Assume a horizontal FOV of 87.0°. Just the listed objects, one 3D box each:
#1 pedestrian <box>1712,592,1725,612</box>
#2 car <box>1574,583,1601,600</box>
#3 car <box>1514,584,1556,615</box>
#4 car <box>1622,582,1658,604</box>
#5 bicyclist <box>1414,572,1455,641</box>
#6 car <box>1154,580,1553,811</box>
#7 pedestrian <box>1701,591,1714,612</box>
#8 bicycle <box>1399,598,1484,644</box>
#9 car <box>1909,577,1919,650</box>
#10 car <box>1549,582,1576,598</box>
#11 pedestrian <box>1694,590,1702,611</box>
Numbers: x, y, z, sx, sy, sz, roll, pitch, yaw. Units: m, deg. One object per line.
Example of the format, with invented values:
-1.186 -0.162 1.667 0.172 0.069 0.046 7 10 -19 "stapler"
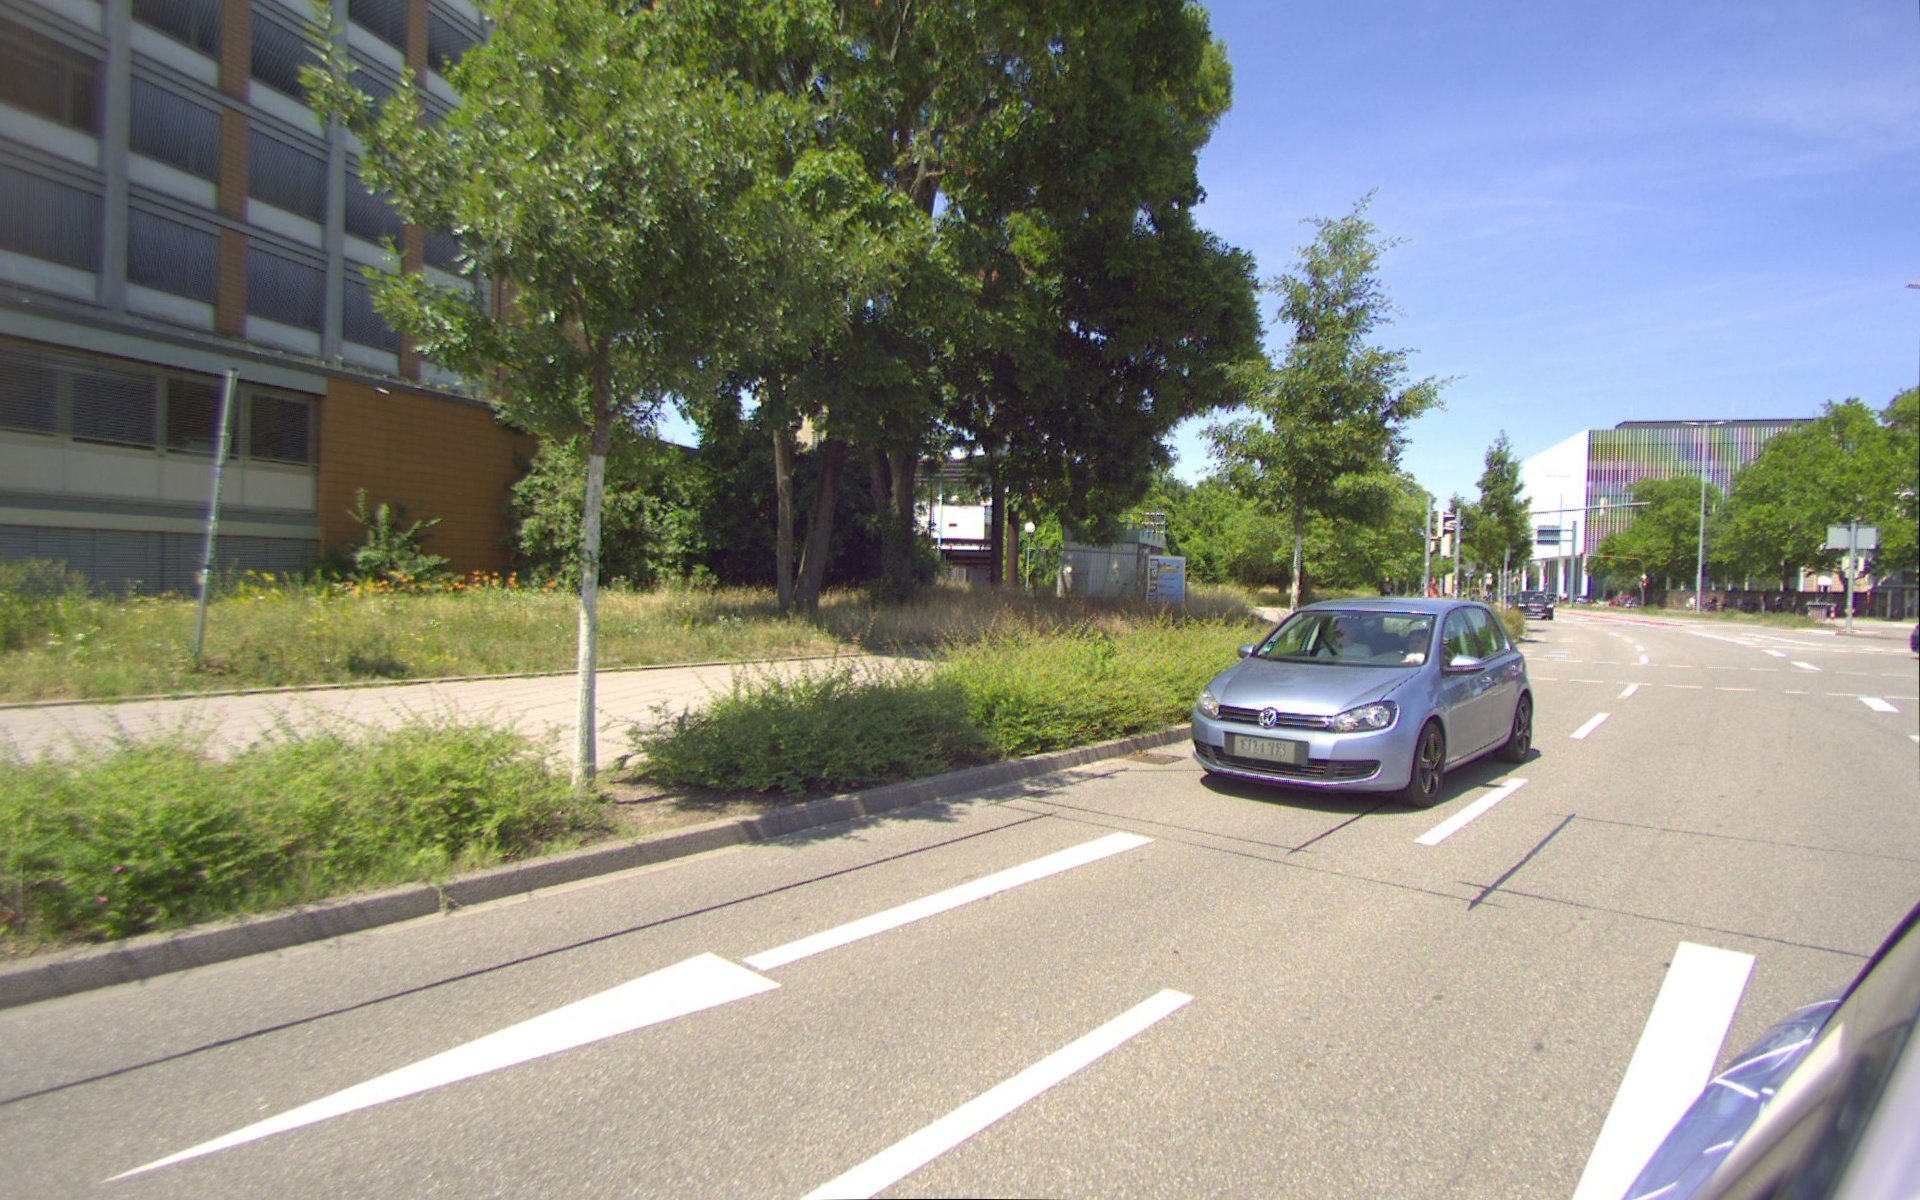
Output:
76.123 0.213 101.576 0.779 2.039 0.834 2 -1 20 "pedestrian"
69.024 -0.966 111.338 1.761 1.705 3.969 2 -1 22 "car"
33.179 -0.007 58.446 1.691 1.606 4.516 2 -1 25 "car"
68.820 -0.657 102.496 1.976 2.039 4.185 2 -1 20 "car"
12.314 0.160 26.276 0.540 1.737 0.704 3 0 -30 "bicyclist"
3.467 0.602 8.488 1.827 1.432 3.933 2 1 42 "car"
75.356 0.132 101.984 0.779 2.039 0.957 2 -1 20 "pedestrian"
12.394 0.521 26.107 0.547 1.058 2.000 2 1 -29 "bicycle"
25.872 0.414 24.706 4.190 1.789 1.837 2 -1 -12 "car"
66.749 -1.092 112.141 1.757 1.689 3.972 2 -1 20 "car"
74.501 0.058 102.154 0.543 2.039 0.532 2 -1 21 "pedestrian"
